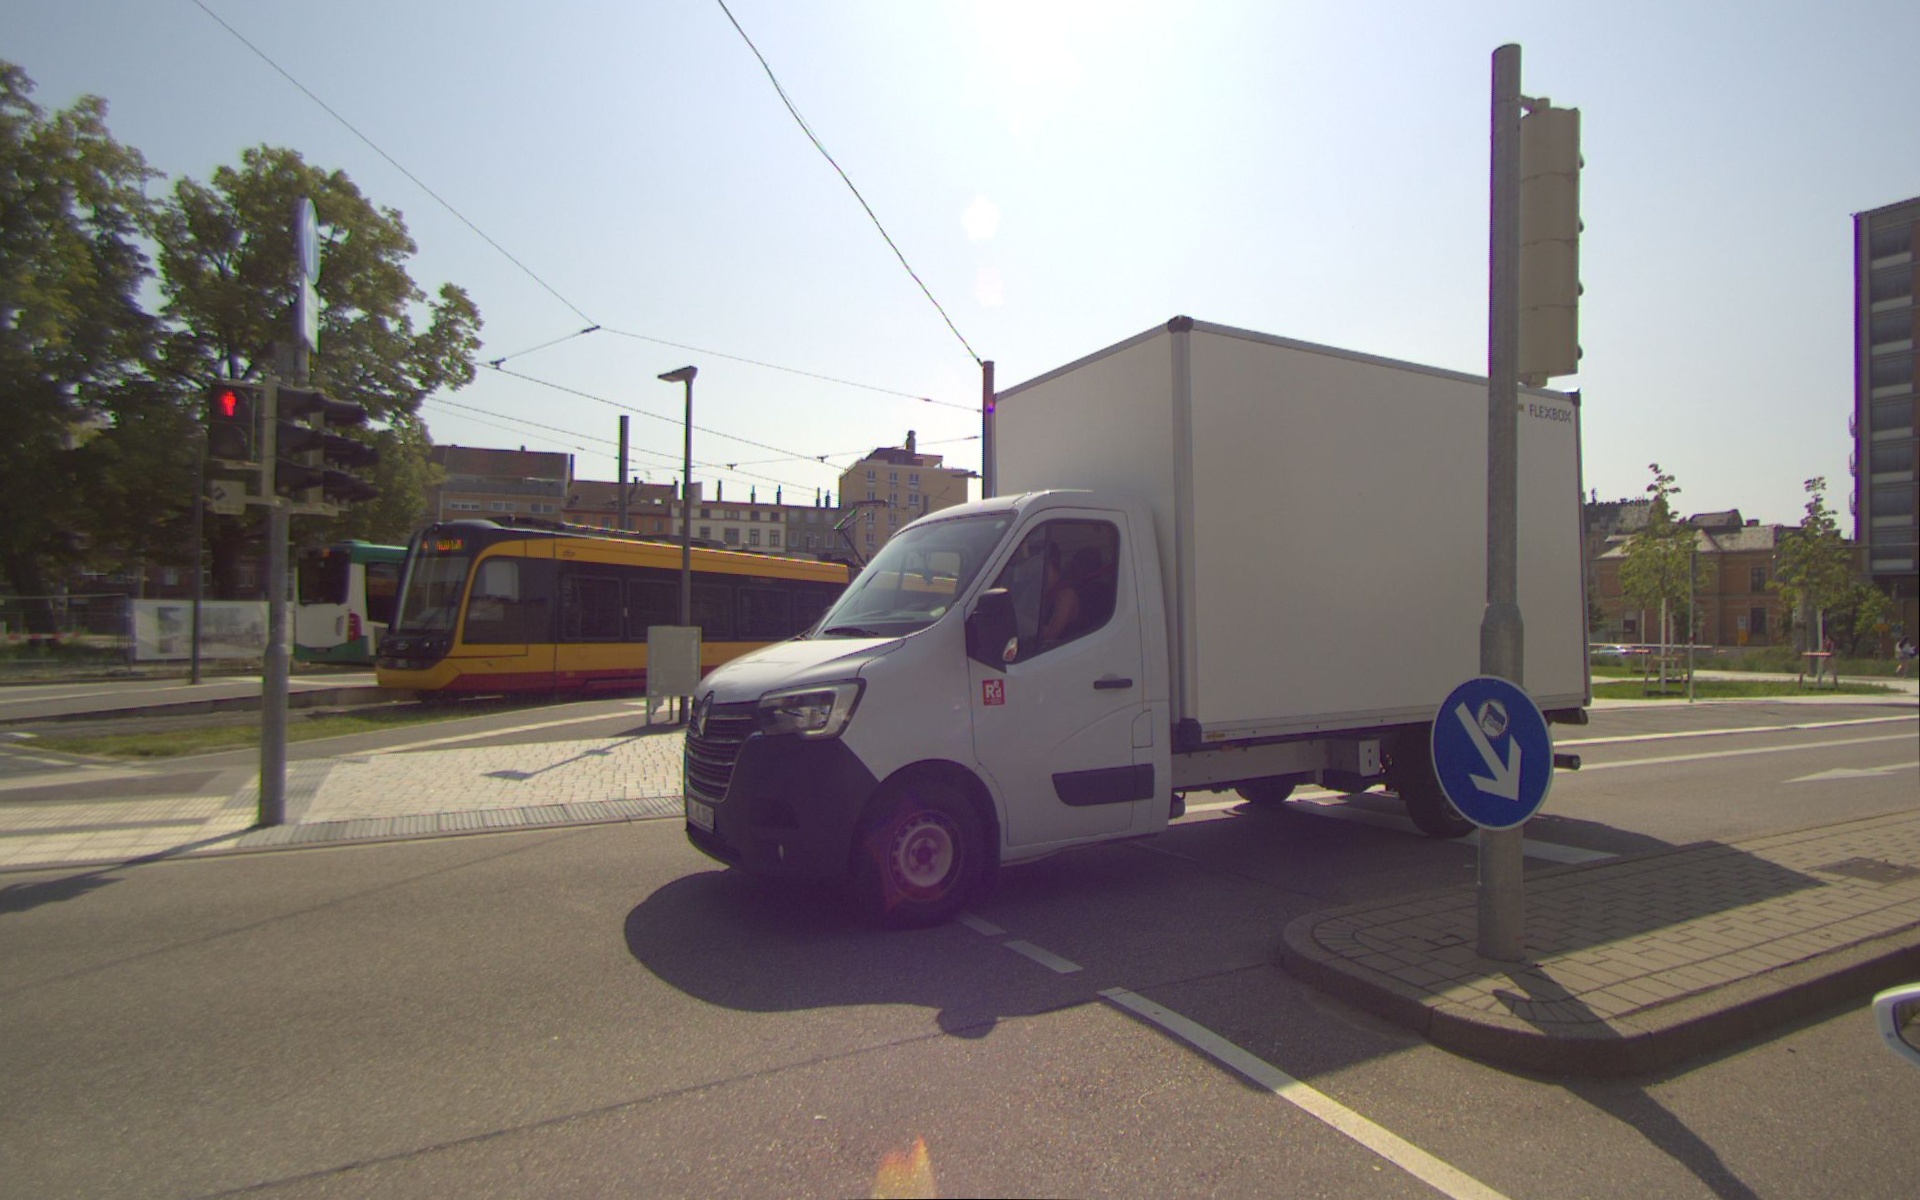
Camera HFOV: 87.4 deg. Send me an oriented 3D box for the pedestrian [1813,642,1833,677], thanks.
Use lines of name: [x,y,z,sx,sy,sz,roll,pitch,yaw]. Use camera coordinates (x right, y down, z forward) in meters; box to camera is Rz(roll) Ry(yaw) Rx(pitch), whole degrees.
pedestrian: [38.681,2.651,45.027,0.521,1.573,0.417,0,-2,16]

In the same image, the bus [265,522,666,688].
bus: [-13.220,0.280,28.531,2.912,3.824,10.587,1,-2,26]

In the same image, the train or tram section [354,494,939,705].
train or tram section: [-5.883,0.285,25.688,2.812,3.595,17.726,1,-2,26]

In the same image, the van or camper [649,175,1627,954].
van or camper: [1.688,-0.048,7.200,7.109,3.350,2.388,2,-2,-31]

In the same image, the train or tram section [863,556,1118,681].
train or tram section: [2.288,0.920,42.269,2.842,4.121,19.121,1,-2,27]
